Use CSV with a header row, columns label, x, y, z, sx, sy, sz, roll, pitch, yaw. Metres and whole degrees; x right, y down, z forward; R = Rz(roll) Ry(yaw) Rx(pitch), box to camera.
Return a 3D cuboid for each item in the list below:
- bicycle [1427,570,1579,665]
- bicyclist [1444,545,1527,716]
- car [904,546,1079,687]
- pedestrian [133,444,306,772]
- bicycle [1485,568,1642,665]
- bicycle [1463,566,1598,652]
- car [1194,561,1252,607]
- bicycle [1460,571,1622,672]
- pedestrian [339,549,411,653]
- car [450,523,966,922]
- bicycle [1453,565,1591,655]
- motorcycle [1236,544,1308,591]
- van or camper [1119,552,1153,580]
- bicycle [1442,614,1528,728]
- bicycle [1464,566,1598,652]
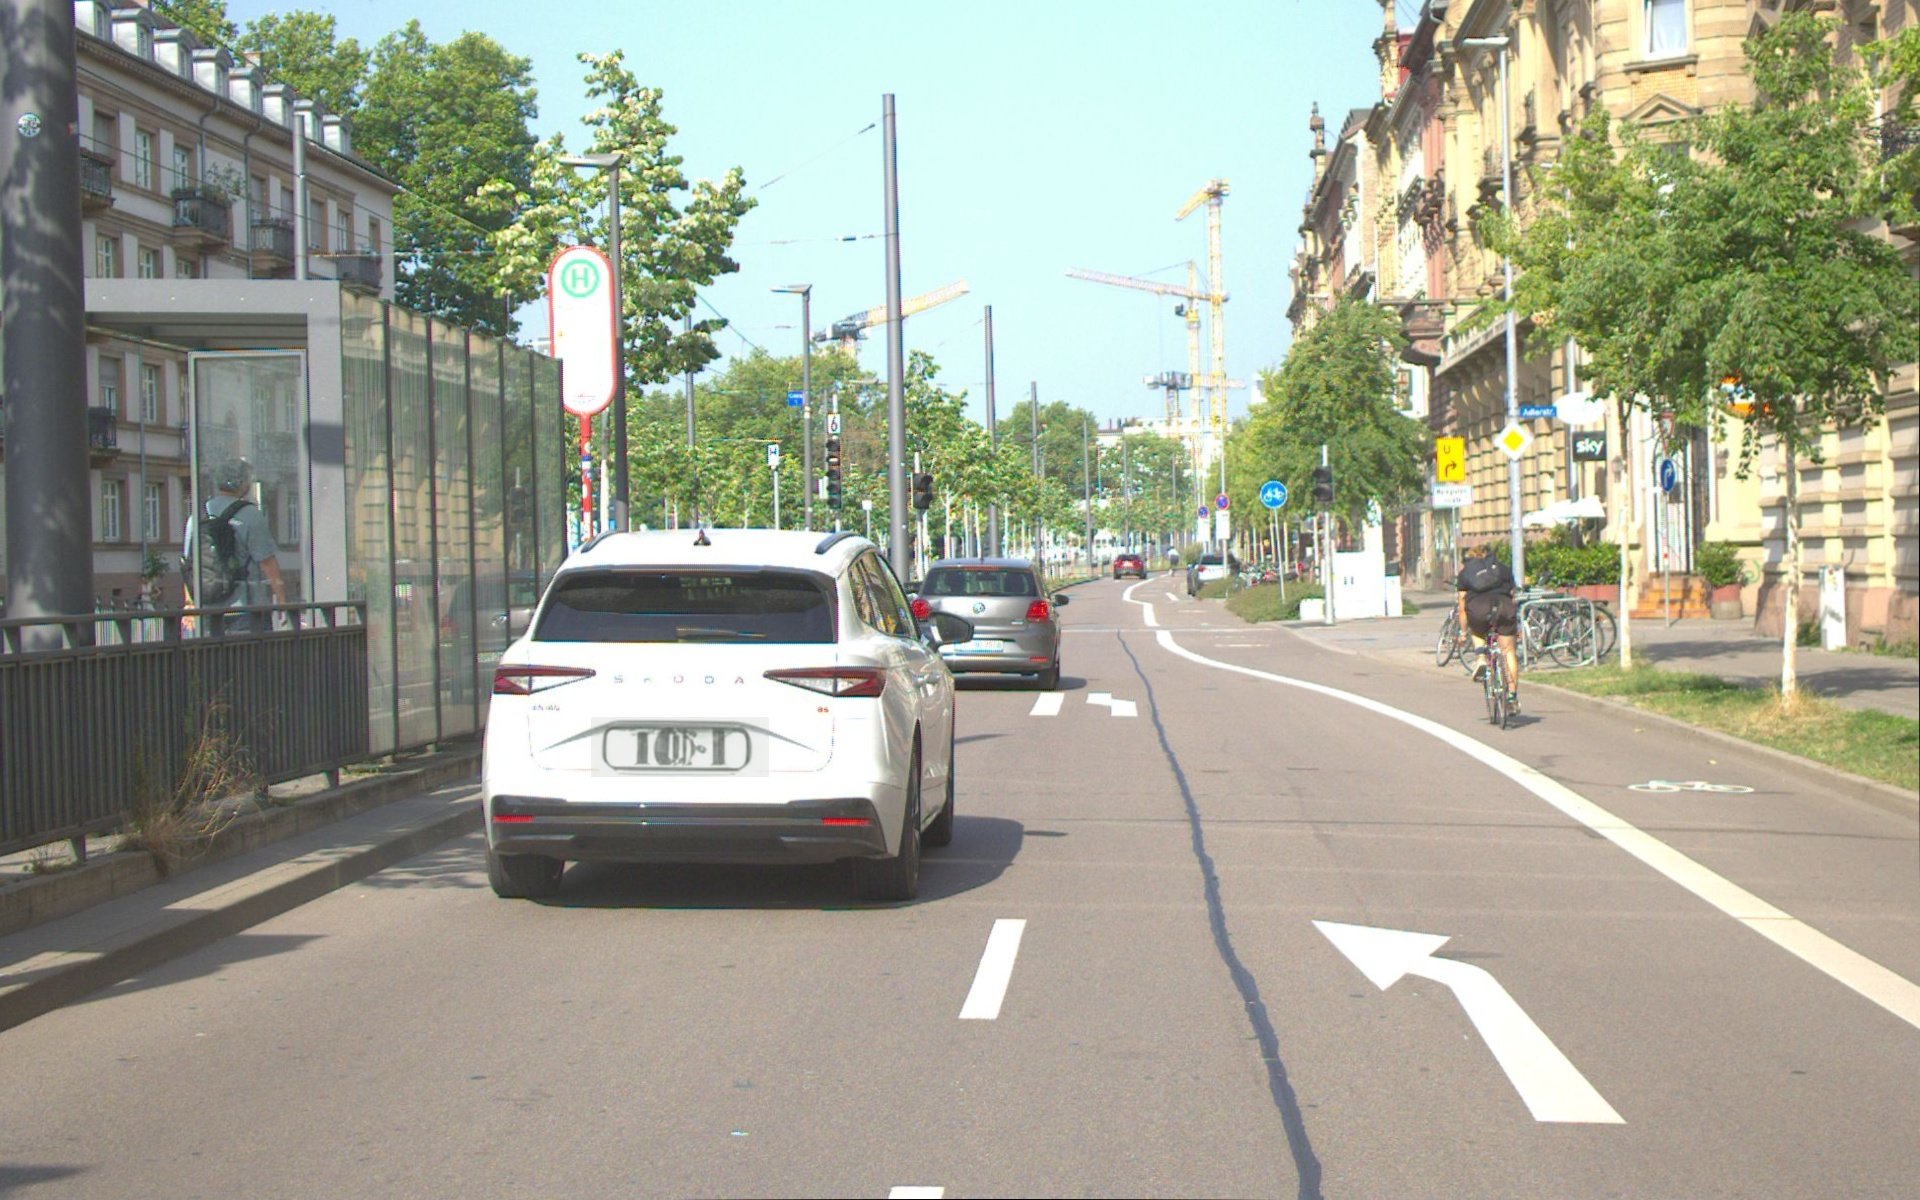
label,x,y,z,sx,sy,sz,roll,pitch,yaw
bicycle,7.009,0.221,44.366,1.755,1.084,0.673,-4,1,-19
bicyclist,4.635,0.259,30.349,0.583,1.477,0.931,1,0,1
car,0.407,0.147,38.489,1.754,1.479,4.406,0,1,3
pedestrian,-4.674,0.049,21.759,0.833,2.007,1.028,1,0,0
bicycle,7.576,0.203,43.198,1.755,1.084,0.658,-4,0,-6
bicycle,7.813,0.122,47.137,1.753,1.084,0.582,-3,1,7
car,9.773,-0.602,128.010,1.769,1.583,4.248,-2,1,0
bicycle,7.038,0.253,41.661,1.755,1.084,0.611,-4,0,-6
pedestrian,-10.693,0.014,62.834,1.067,1.861,0.864,-1,0,-24
car,-1.003,0.463,15.873,1.817,1.584,4.406,0,1,3
bicycle,7.494,0.132,45.898,1.756,1.084,0.668,-3,1,9
motorcycle,9.165,-0.951,100.987,2.035,1.282,0.705,-3,2,-31
van or camper,10.652,-2.049,208.341,1.994,1.649,4.000,-2,1,3
bicycle,4.641,0.610,30.457,0.505,0.950,1.785,1,1,1
bicycle,7.925,0.121,47.732,1.753,1.084,0.582,-3,1,7
